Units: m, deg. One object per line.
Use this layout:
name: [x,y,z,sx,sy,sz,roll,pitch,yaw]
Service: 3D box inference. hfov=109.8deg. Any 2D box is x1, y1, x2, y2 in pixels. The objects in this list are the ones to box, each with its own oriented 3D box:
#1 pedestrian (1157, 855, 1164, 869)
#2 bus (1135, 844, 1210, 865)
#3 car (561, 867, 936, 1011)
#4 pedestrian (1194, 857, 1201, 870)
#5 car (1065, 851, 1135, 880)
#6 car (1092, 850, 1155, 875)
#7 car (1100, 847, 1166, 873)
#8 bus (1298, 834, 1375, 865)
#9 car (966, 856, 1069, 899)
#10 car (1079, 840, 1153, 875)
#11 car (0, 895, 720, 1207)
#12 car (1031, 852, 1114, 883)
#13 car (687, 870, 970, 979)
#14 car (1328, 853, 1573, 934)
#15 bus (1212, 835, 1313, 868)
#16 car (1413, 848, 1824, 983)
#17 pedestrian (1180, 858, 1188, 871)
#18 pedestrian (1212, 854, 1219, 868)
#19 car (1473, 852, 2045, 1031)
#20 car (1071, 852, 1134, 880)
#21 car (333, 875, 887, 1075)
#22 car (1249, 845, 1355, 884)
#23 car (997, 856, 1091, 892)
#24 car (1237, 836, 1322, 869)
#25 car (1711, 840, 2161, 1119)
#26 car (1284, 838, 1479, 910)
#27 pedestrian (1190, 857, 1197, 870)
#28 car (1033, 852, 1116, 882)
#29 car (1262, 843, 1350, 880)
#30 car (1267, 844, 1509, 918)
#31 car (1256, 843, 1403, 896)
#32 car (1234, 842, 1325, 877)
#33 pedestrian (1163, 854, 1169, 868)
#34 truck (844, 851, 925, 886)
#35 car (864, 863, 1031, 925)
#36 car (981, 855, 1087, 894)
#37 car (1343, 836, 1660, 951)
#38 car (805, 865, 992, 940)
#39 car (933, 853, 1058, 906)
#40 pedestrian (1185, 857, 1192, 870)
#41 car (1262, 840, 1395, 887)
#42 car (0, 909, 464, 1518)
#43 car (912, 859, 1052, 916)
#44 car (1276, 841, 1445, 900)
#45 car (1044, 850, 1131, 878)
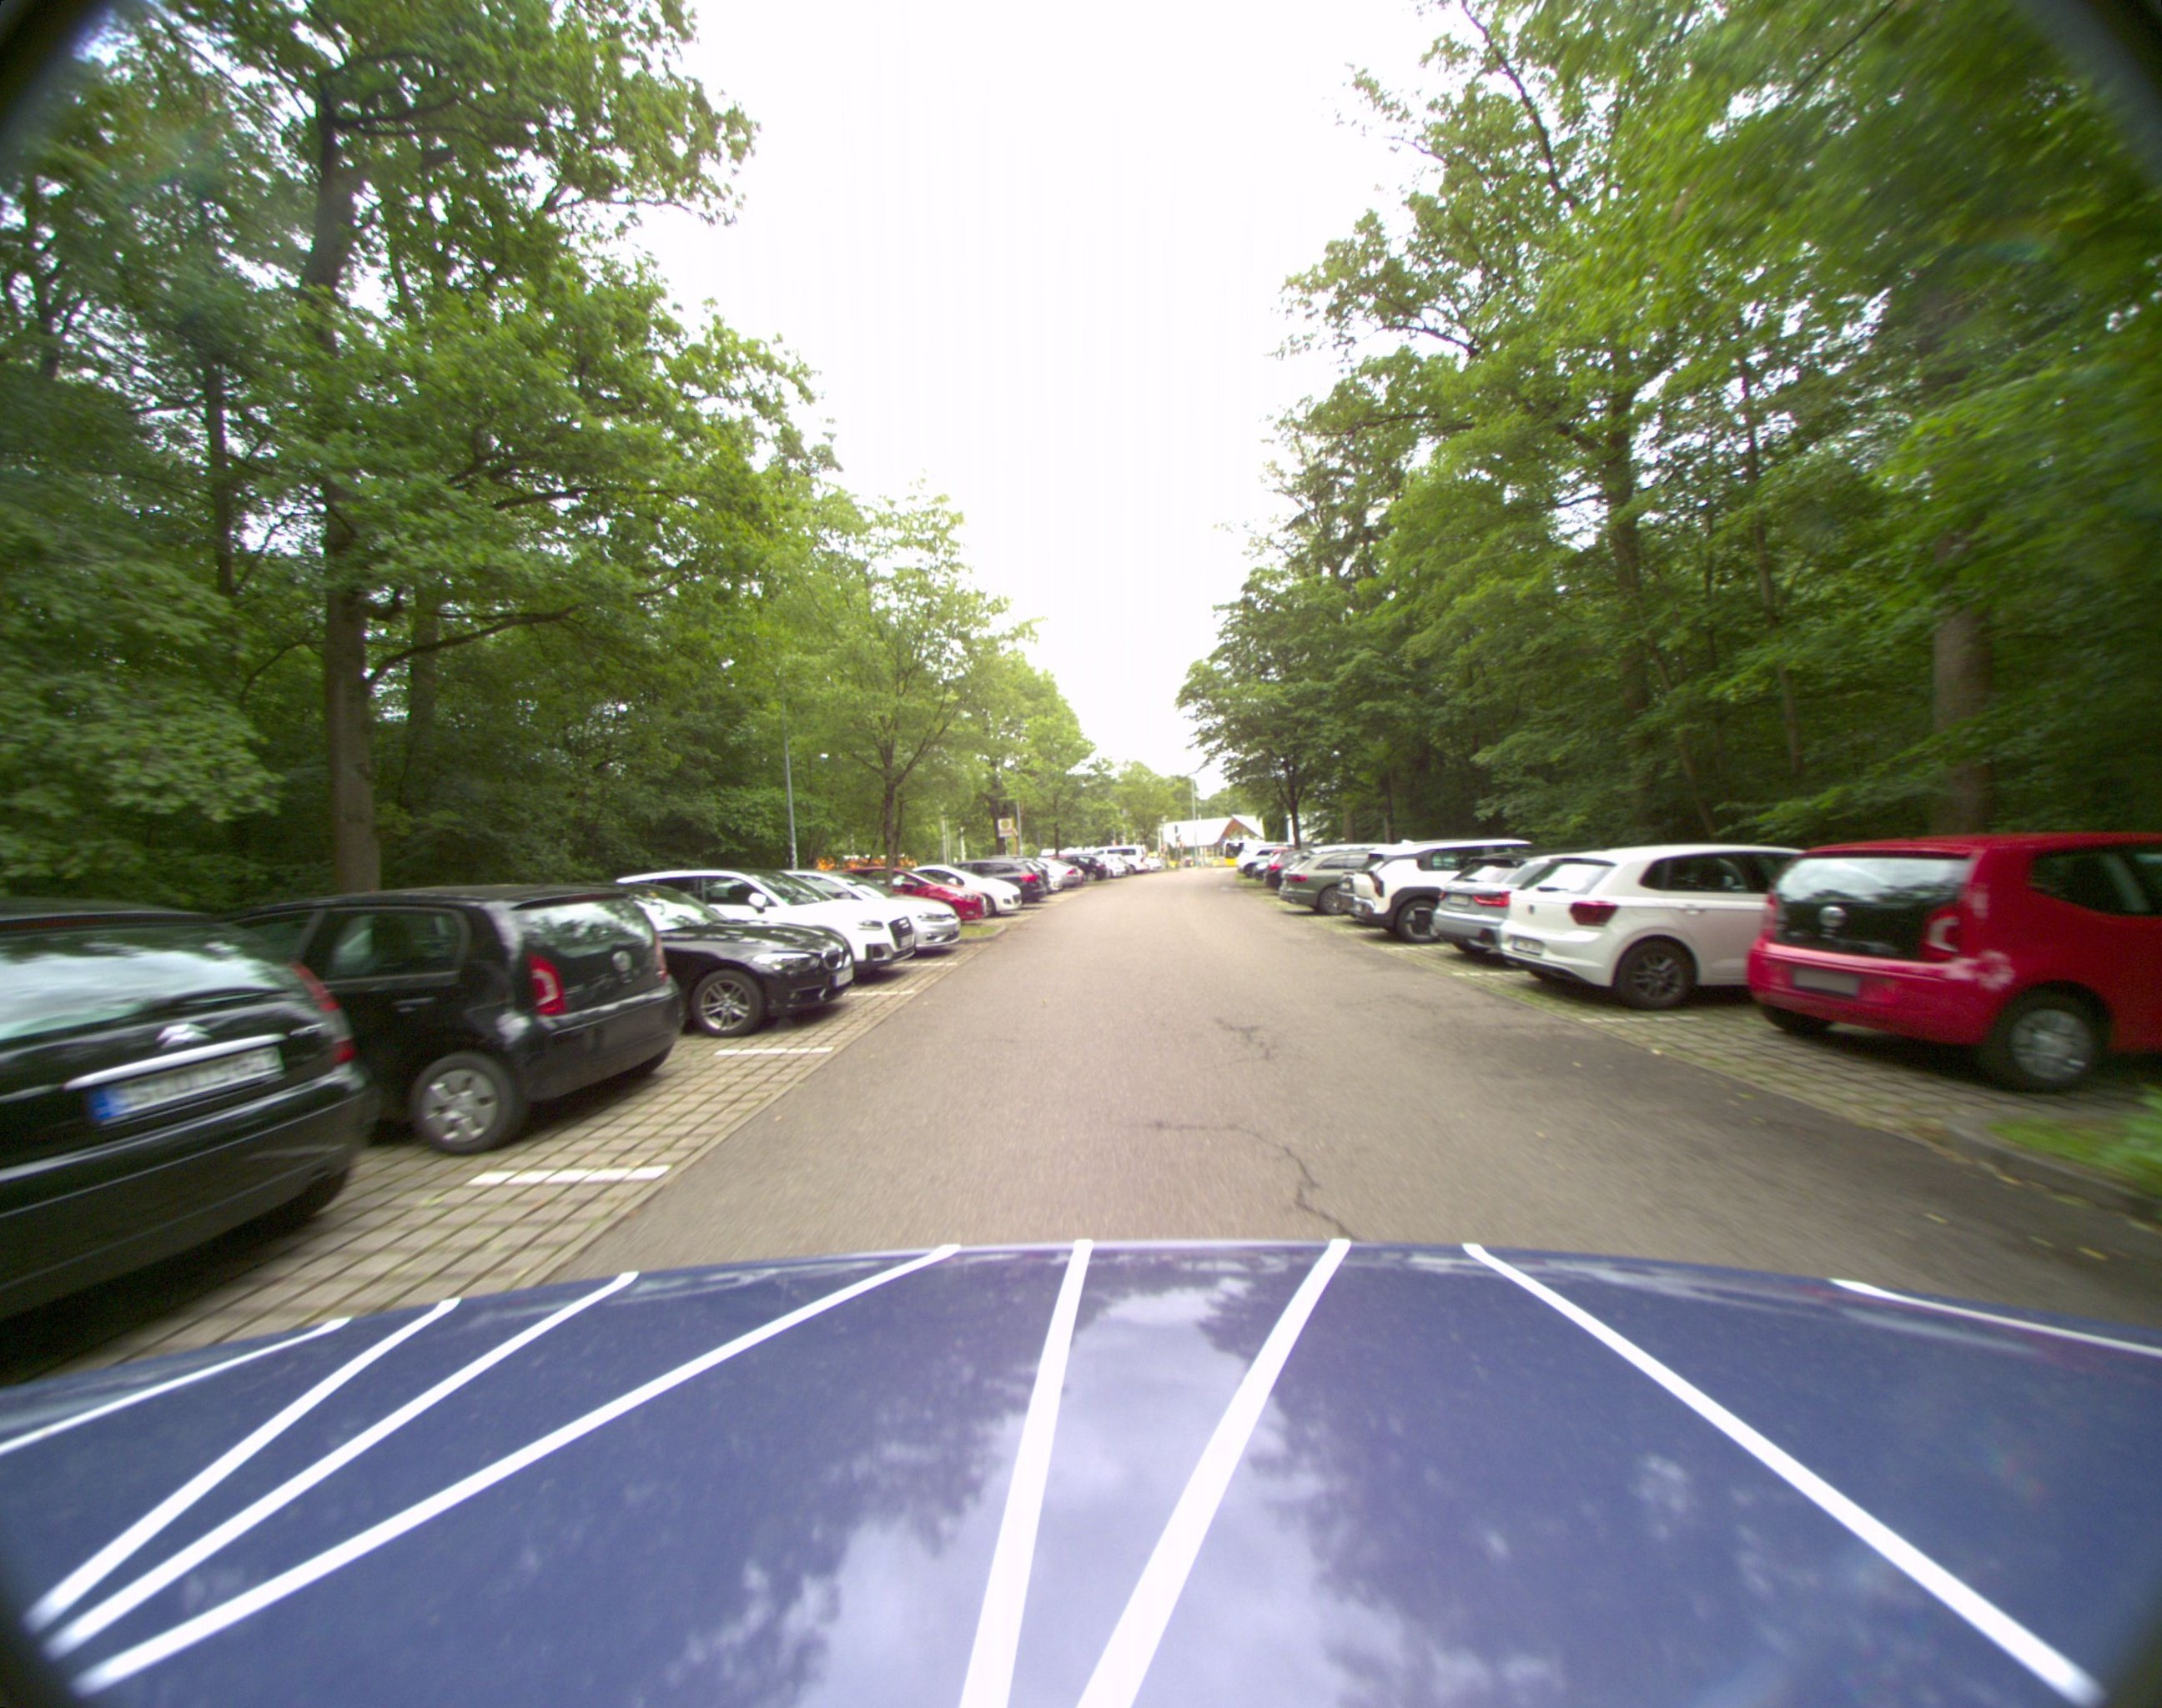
pedestrian: [10.210,1.022,97.883,0.736,1.746,0.669,-4,-2,5]
bus: [18.130,0.013,148.186,3.969,3.461,18.616,-6,-3,44]
car: [-4.193,1.048,10.037,4.017,1.550,1.978,-3,0,5]
pedestrian: [15.707,1.244,102.371,0.600,1.746,0.668,-3,-2,-19]
car: [1.202,0.722,47.547,3.993,1.475,1.879,-4,1,14]
car: [3.092,0.648,55.052,4.001,1.546,1.950,-4,-1,22]
car: [3.939,0.457,57.387,4.525,1.683,2.168,-2,1,21]
bus: [28.522,-0.476,84.943,7.761,3.139,2.809,-2,-2,-16]
car: [-2.485,0.907,30.195,3.709,1.502,1.752,-2,1,8]
car: [2.425,0.254,52.386,4.655,2.008,2.086,-4,-2,16]
car: [-4.691,1.101,4.865,3.836,1.449,1.809,-2,1,2]
car: [-0.414,0.687,40.095,3.993,1.474,1.924,-2,0,12]
car: [-4.005,1.102,12.570,3.986,1.475,1.884,-2,0,1]
car: [6.853,0.712,14.412,3.798,1.348,1.730,-2,0,4]
bus: [19.710,-0.242,82.451,10.524,3.139,2.809,-2,-2,-16]
car: [6.504,0.688,9.543,3.812,1.412,1.897,-2,0,-1]
pedestrian: [13.974,1.426,102.954,0.732,1.746,0.738,-5,-2,30]
pedestrian: [17.627,0.923,99.620,0.655,1.746,0.669,-4,-2,5]
car: [6.125,0.741,7.299,3.735,1.411,1.872,-2,0,3]
car: [1.414,0.803,49.854,3.728,1.545,1.849,-4,-2,14]
car: [-4.283,1.064,7.460,4.197,1.503,1.893,-2,0,0]
car: [9.092,0.416,31.532,3.994,1.482,1.708,-2,0,8]
car: [-1.687,0.908,35.190,3.994,1.441,1.942,-2,0,8]
car: [12.683,-0.060,48.517,5.092,1.904,1.980,-2,0,17]
car: [6.559,0.678,4.940,3.473,1.472,1.684,-1,1,3]
car: [7.572,0.480,19.498,4.243,1.637,1.970,-2,0,3]
pedestrian: [15.138,1.248,102.149,0.600,1.746,0.668,-3,-2,-19]
car: [-0.337,0.708,42.708,4.235,1.472,1.921,-2,1,12]
car: [9.944,0.338,33.840,3.613,1.465,1.676,-2,0,12]
car: [6.784,0.579,17.264,4.649,1.469,2.095,-2,0,5]
car: [7.941,0.476,24.662,4.241,1.521,2.007,-2,0,9]
car: [10.149,0.276,39.109,4.362,1.588,2.032,-2,1,13]
pedestrian: [10.948,0.961,97.948,0.736,1.746,0.669,-4,-2,3]
truck: [-22.148,1.635,85.613,8.235,3.493,2.871,-2,-1,11]
car: [-3.440,1.033,20.103,3.941,1.402,1.879,-3,0,5]
car: [-1.974,0.862,32.526,4.134,1.453,1.866,-2,1,10]
car: [6.388,0.597,12.061,3.967,1.618,2.000,-2,0,12]
car: [-4.031,1.058,17.305,3.805,1.432,1.870,-2,0,-4]
car: [-2.817,0.847,25.576,3.775,1.580,1.951,-3,0,7]
pedestrian: [14.523,1.275,102.517,0.669,1.746,0.561,-2,-2,-33]
car: [8.762,0.337,27.212,4.241,1.465,1.721,-2,1,8]
car: [-4.826,1.068,2.627,3.836,1.522,1.851,-1,0,1]
car: [-2.849,0.970,22.445,3.776,1.472,1.774,-3,0,3]
car: [7.958,0.471,21.973,4.242,1.524,1.763,-2,0,5]
car: [0.396,0.613,45.313,4.778,1.467,1.855,-2,0,15]
